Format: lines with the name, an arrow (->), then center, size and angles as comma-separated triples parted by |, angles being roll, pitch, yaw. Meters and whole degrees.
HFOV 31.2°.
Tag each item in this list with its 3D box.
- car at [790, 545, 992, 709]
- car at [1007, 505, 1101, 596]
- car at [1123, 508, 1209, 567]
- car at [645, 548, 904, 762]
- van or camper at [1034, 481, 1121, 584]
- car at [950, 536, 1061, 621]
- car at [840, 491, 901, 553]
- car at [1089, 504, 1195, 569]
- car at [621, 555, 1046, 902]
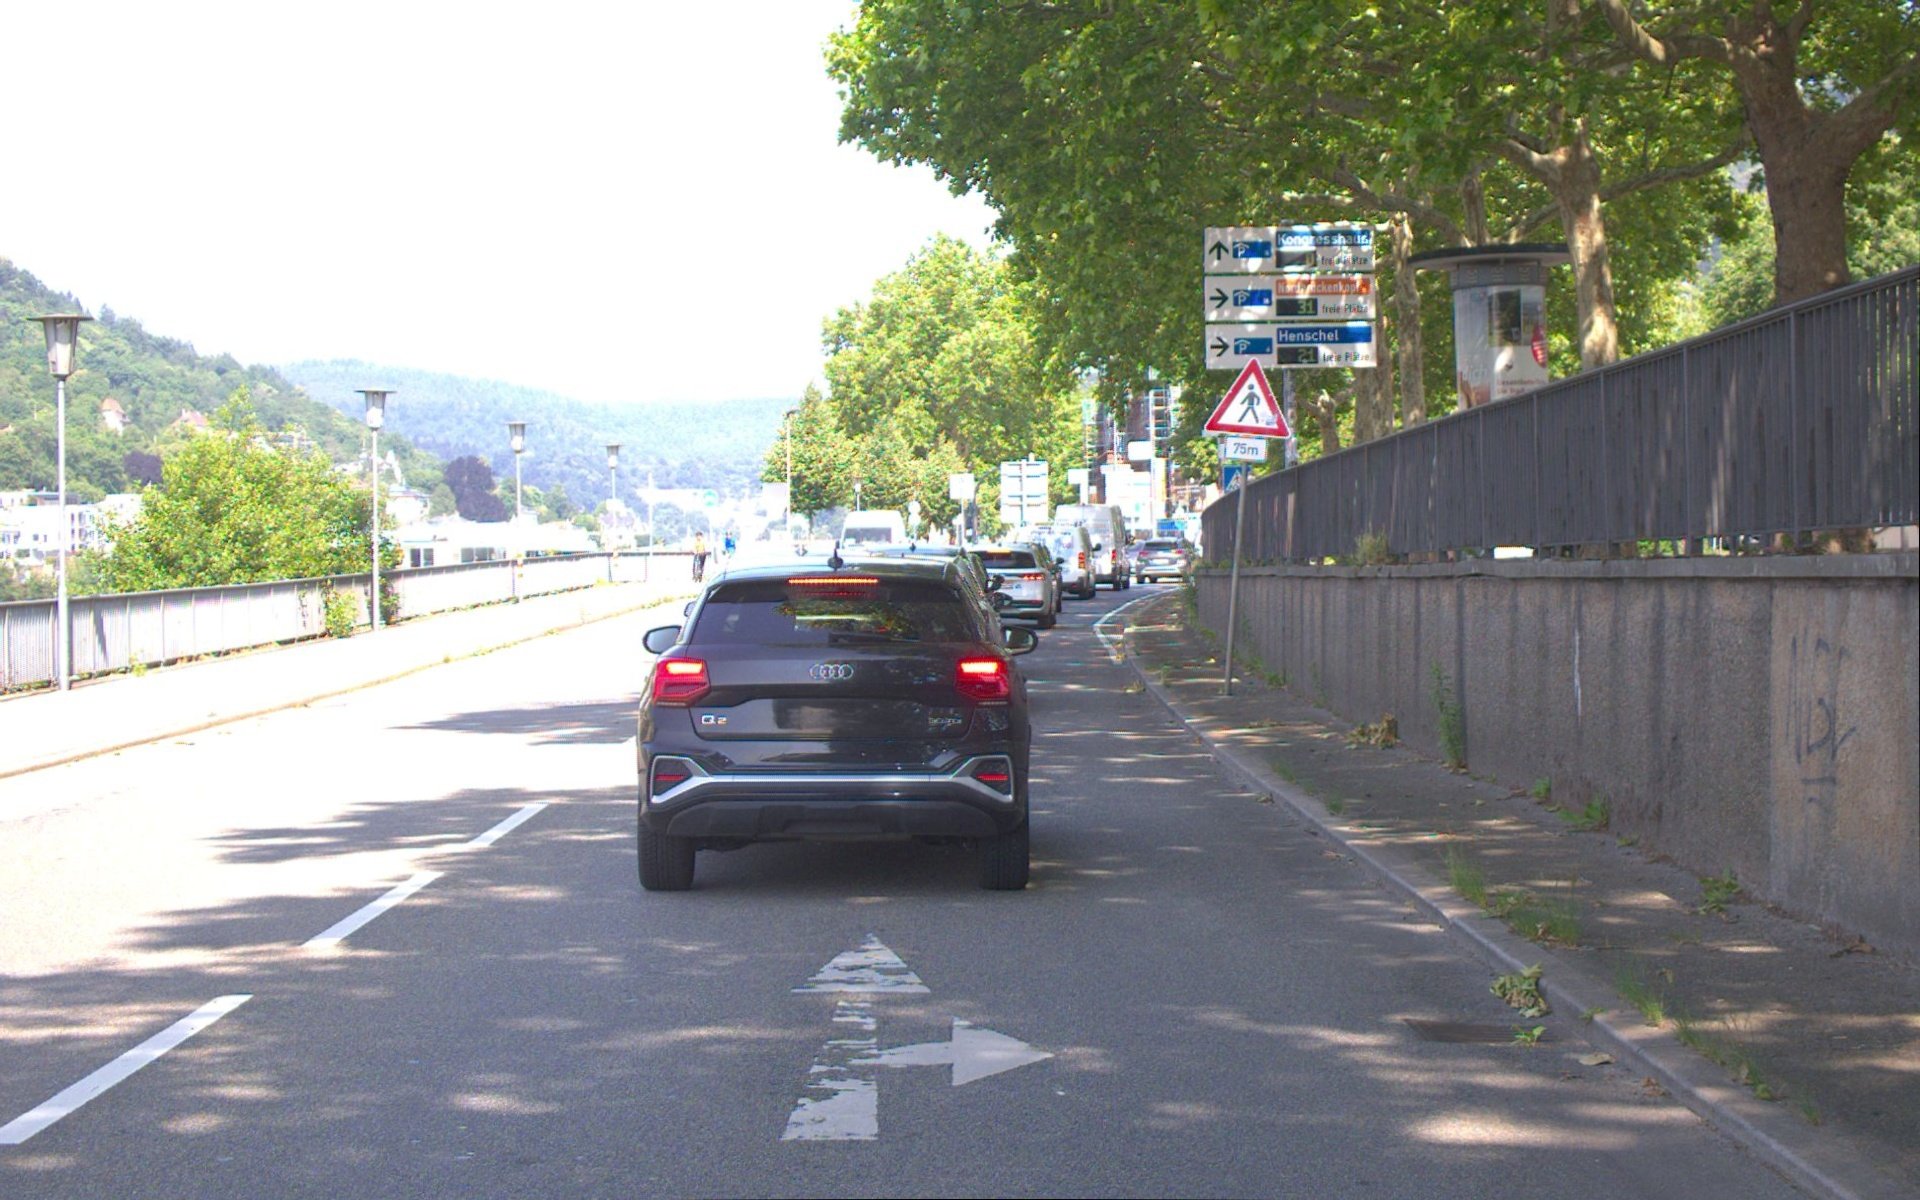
car -> -0.663, 0.215, 33.063 | 1.828, 1.481, 4.000 | 0, 1, -1
car -> 2.410, -1.267, 87.197 | 1.994, 2.162, 3.999 | -3, 1, 5
car -> 7.757, -2.361, 130.075 | 2.661, 2.007, 5.825 | -3, 1, -1
car -> -1.349, 0.357, 26.316 | 1.828, 1.506, 4.000 | 0, 1, -1
van or camper -> 3.412, -1.974, 100.845 | 2.310, 2.837, 4.246 | -3, 1, 1
car -> 0.765, -0.402, 60.454 | 1.828, 1.439, 4.000 | 0, 1, -1
car -> -3.100, -2.699, 119.482 | 1.993, 2.007, 4.000 | -3, 1, -1
car -> 6.169, -2.154, 117.382 | 3.098, 2.007, 5.825 | -3, 1, -1
car -> -0.584, 0.531, 16.826 | 1.828, 1.481, 4.000 | 0, 1, -1
